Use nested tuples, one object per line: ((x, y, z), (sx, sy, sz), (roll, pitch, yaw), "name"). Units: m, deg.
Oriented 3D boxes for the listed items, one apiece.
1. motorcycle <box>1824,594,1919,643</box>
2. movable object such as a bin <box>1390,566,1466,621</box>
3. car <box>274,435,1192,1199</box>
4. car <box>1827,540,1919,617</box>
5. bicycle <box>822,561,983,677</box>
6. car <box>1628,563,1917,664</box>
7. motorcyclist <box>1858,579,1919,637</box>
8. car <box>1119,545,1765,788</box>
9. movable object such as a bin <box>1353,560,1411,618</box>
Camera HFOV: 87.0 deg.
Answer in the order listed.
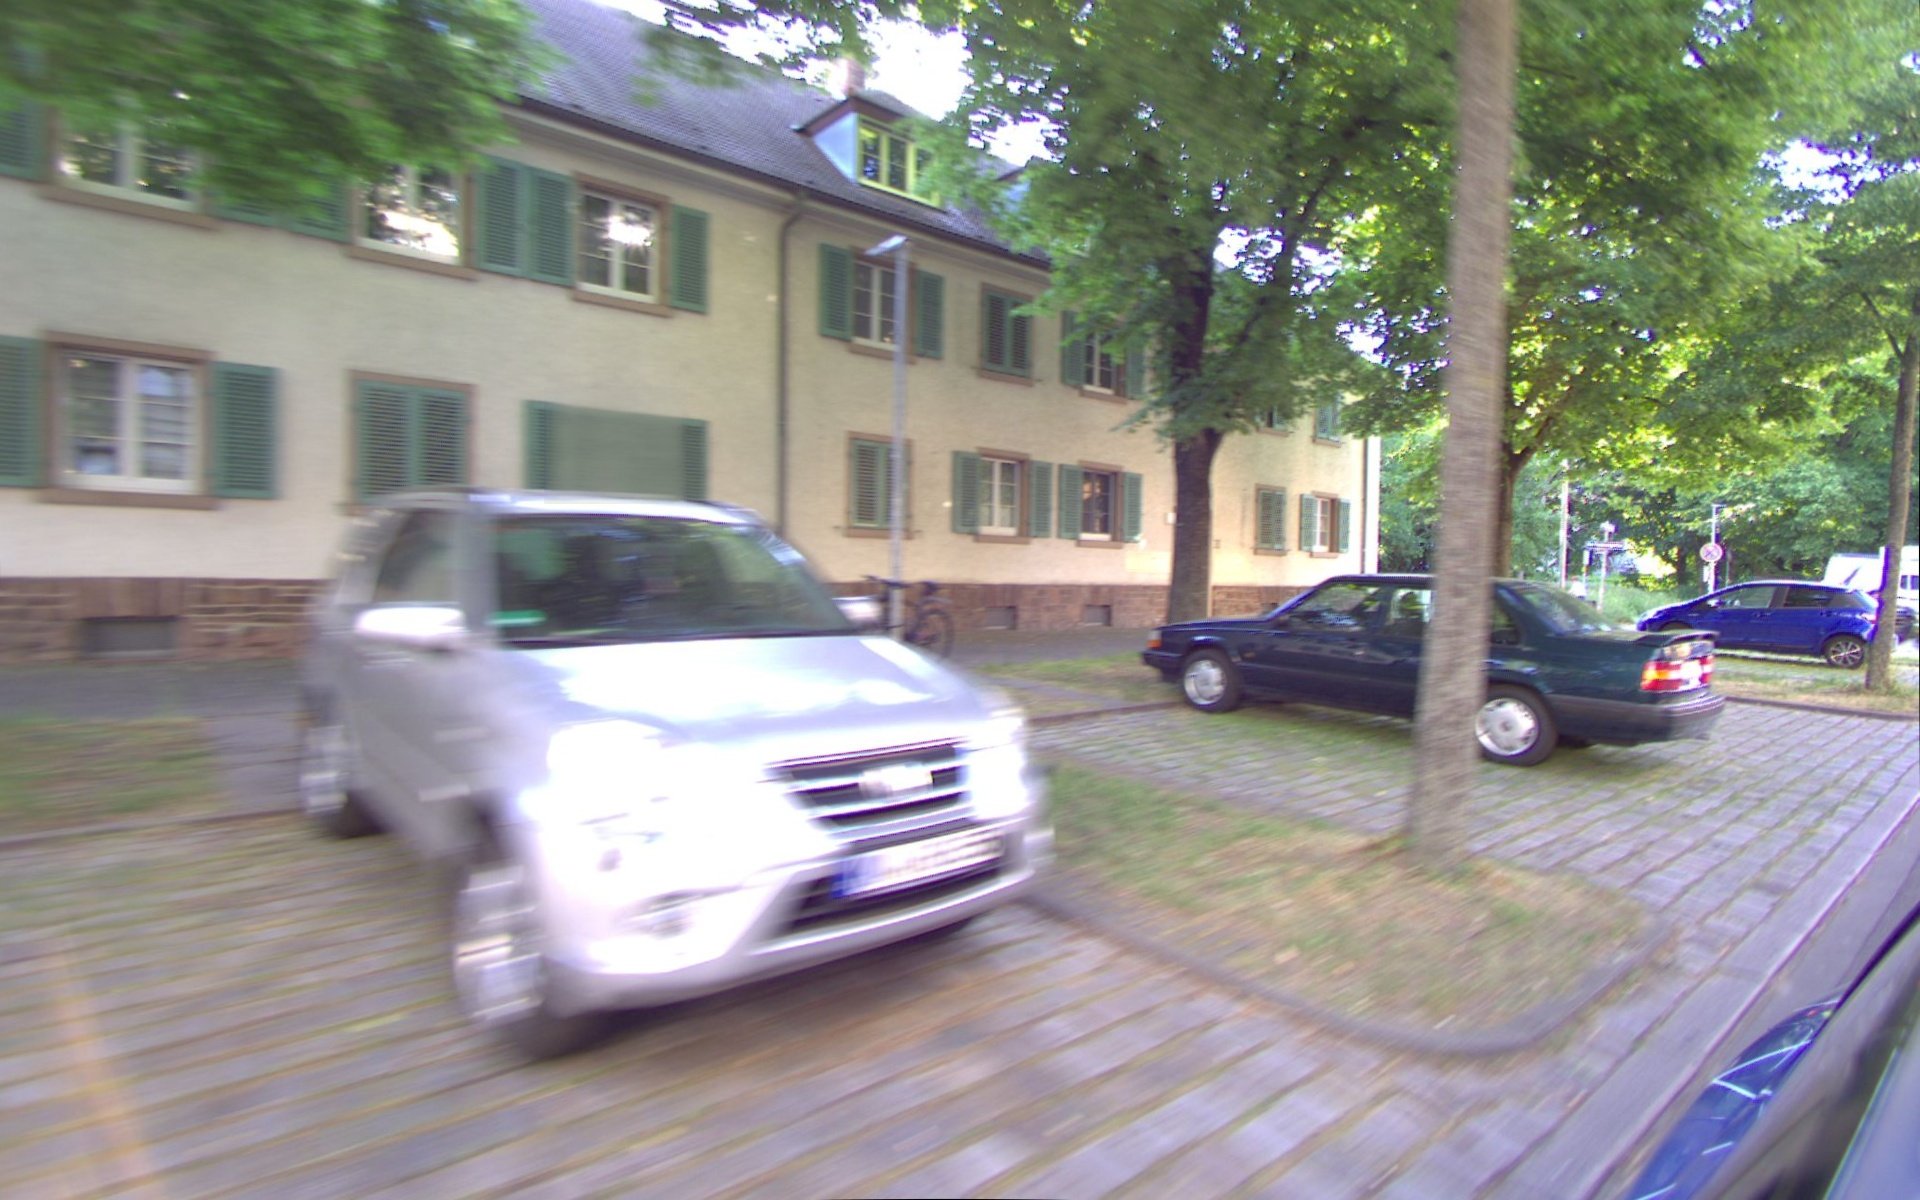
((22.881, 0.453, 24.727), (0.967, 1.115, 2.520), (0, 2, -34), "motorcycle")
((14.998, -0.224, 32.469), (1.561, 1.677, 1.641), (-1, 3, -34), "movable object such as a bin")
((-1.467, 0.323, 4.410), (1.909, 1.689, 4.485), (1, 4, -42), "car")
((34.378, -0.764, 35.600), (2.201, 2.646, 5.623), (-2, 3, -41), "car")
((-0.596, 0.183, 11.225), (0.627, 1.177, 1.906), (2, 1, 41), "bicycle")
((15.358, 0.155, 19.284), (1.966, 1.574, 3.994), (-2, 5, -42), "car")
((22.876, 0.177, 24.702), (0.967, 1.357, 1.228), (0, 1, -34), "motorcyclist")
((3.988, 0.320, 9.182), (1.910, 1.459, 4.903), (-2, 5, -42), "car")
((14.062, -0.394, 33.746), (1.129, 1.850, 1.387), (-1, 3, -33), "movable object such as a bin")
